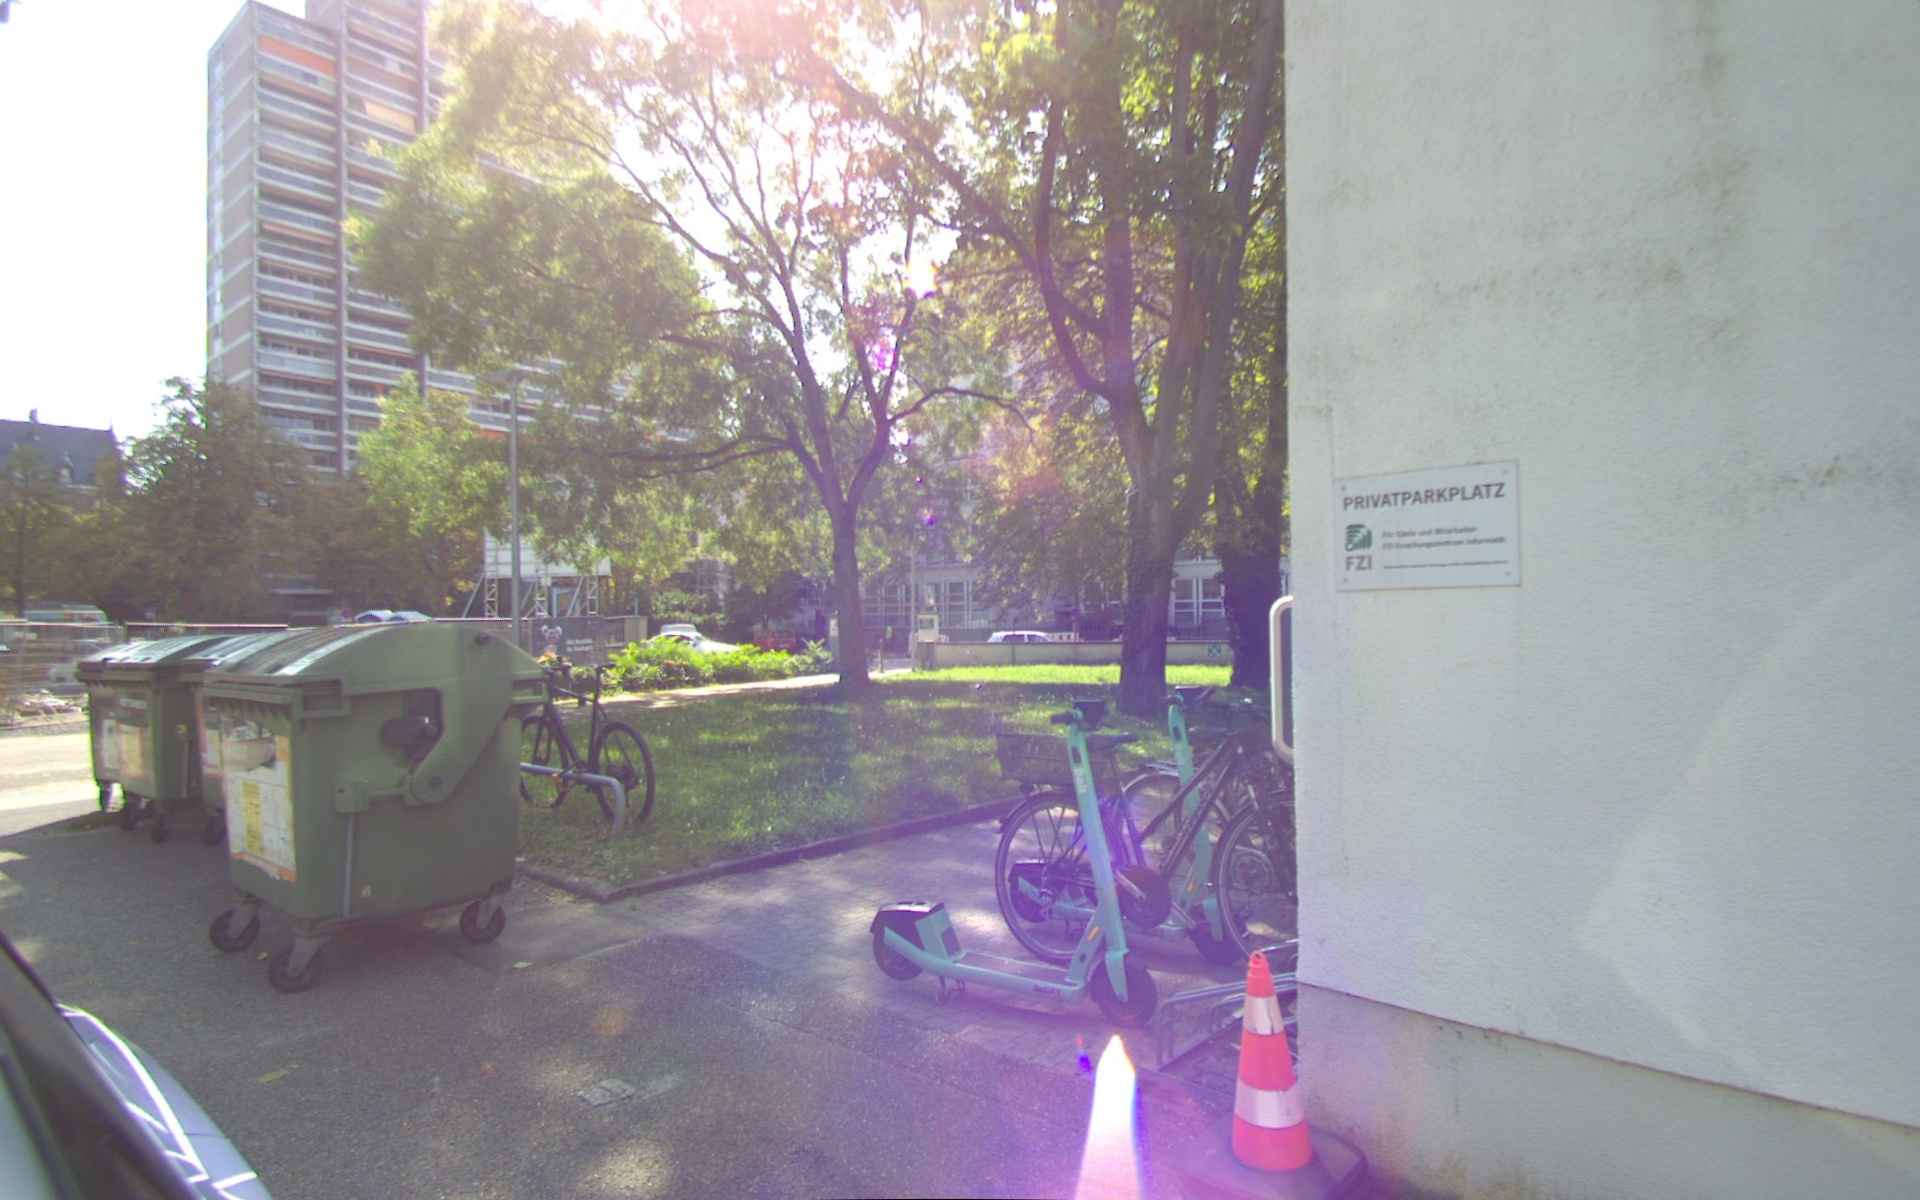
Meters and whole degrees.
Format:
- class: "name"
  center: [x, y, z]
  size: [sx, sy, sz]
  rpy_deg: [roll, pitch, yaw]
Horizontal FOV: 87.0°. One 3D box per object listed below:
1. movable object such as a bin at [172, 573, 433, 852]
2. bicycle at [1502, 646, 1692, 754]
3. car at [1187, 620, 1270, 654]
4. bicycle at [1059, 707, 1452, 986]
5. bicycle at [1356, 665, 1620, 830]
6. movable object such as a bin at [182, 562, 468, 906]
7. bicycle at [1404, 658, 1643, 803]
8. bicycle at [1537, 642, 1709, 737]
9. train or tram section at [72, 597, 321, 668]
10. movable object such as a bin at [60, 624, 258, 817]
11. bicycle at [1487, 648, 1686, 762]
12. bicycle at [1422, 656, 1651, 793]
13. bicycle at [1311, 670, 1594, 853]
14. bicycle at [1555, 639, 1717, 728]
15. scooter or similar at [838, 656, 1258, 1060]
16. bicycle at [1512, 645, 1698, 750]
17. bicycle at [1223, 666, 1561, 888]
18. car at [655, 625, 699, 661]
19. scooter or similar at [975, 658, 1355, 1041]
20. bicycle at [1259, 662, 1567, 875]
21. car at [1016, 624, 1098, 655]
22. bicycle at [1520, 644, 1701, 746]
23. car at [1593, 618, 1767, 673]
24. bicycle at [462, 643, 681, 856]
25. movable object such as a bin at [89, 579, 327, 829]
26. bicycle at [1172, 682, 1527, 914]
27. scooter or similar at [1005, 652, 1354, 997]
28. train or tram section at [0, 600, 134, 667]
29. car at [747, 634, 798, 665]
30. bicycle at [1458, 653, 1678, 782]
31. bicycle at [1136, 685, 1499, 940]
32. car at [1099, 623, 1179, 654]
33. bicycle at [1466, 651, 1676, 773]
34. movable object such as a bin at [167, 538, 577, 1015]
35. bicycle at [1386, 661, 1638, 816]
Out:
- class: "movable object such as a bin"
  center: [-4.632, 0.706, 7.134]
  size: [1.375, 1.718, 1.169]
  rpy_deg: [-1, -1, 38]
- class: "bicycle"
  center: [7.037, 1.075, 11.240]
  size: [1.745, 1.092, 0.321]
  rpy_deg: [-1, -1, 40]
- class: "car"
  center: [12.816, 1.761, 48.562]
  size: [1.833, 1.555, 4.013]
  rpy_deg: [-1, -1, -21]
- class: "bicycle"
  center: [1.305, 1.065, 4.778]
  size: [1.799, 1.004, 0.321]
  rpy_deg: [-1, -1, 40]
- class: "bicycle"
  center: [3.967, 1.066, 7.715]
  size: [1.745, 1.092, 0.321]
  rpy_deg: [-1, -1, 40]
- class: "movable object such as a bin"
  center: [-3.768, 0.681, 5.984]
  size: [1.167, 1.718, 1.396]
  rpy_deg: [0, -1, -44]
- class: "bicycle"
  center: [4.773, 1.069, 8.667]
  size: [1.745, 1.092, 0.321]
  rpy_deg: [-1, -1, 40]
- class: "bicycle"
  center: [8.185, 1.079, 12.559]
  size: [1.745, 1.092, 0.321]
  rpy_deg: [-1, -1, 40]
- class: "train or tram section"
  center: [-41.676, 1.811, 55.180]
  size: [13.859, 3.599, 2.744]
  rpy_deg: [-1, -2, 14]
- class: "movable object such as a bin"
  center: [-6.917, 0.977, 8.758]
  size: [1.103, 1.509, 1.026]
  rpy_deg: [-1, -1, 30]
- class: "bicycle"
  center: [6.582, 1.074, 10.703]
  size: [1.745, 1.092, 0.321]
  rpy_deg: [-1, -1, 40]
- class: "bicycle"
  center: [5.140, 1.070, 9.108]
  size: [1.745, 1.092, 0.321]
  rpy_deg: [-1, -1, 40]
- class: "bicycle"
  center: [3.388, 1.065, 7.092]
  size: [1.745, 1.092, 0.321]
  rpy_deg: [-1, -1, 40]
- class: "bicycle"
  center: [8.920, 1.081, 13.414]
  size: [1.745, 1.092, 0.321]
  rpy_deg: [-1, -1, 40]
- class: "scooter or similar"
  center: [0.300, 0.856, 3.726]
  size: [1.485, 1.272, 0.383]
  rpy_deg: [-1, -1, 22]
- class: "bicycle"
  center: [7.325, 1.076, 11.556]
  size: [1.745, 1.092, 0.321]
  rpy_deg: [-1, -1, 40]
- class: "bicycle"
  center: [2.603, 1.019, 6.300]
  size: [1.915, 1.157, 0.321]
  rpy_deg: [-1, -1, 40]
- class: "car"
  center: [-15.875, 2.366, 56.664]
  size: [1.833, 1.918, 4.013]
  rpy_deg: [0, -2, -24]
- class: "scooter or similar"
  center: [0.741, 0.870, 4.006]
  size: [1.494, 1.240, 0.321]
  rpy_deg: [-1, -1, 40]
- class: "bicycle"
  center: [2.924, 1.040, 6.692]
  size: [1.823, 1.198, 0.321]
  rpy_deg: [-1, -1, 40]
- class: "car"
  center: [4.729, 1.938, 49.905]
  size: [1.768, 1.431, 4.008]
  rpy_deg: [0, -2, -38]
- class: "bicycle"
  center: [7.586, 1.077, 11.871]
  size: [1.745, 1.092, 0.321]
  rpy_deg: [-1, -1, 40]
- class: "car"
  center: [21.365, 1.358, 30.196]
  size: [3.783, 1.555, 1.721]
  rpy_deg: [-1, -2, 15]
- class: "bicycle"
  center: [-2.667, 0.920, 6.813]
  size: [2.007, 1.222, 0.471]
  rpy_deg: [-1, -1, 40]
- class: "movable object such as a bin"
  center: [-5.845, 0.730, 7.870]
  size: [1.375, 1.718, 1.169]
  rpy_deg: [-1, -1, 38]
- class: "bicycle"
  center: [2.166, 1.063, 5.861]
  size: [1.911, 1.083, 0.321]
  rpy_deg: [-1, -1, 40]
- class: "scooter or similar"
  center: [0.890, 0.869, 4.395]
  size: [1.494, 1.249, 0.321]
  rpy_deg: [-1, -1, 40]
- class: "train or tram section"
  center: [-54.707, 2.002, 58.459]
  size: [14.448, 3.599, 2.744]
  rpy_deg: [-1, -2, 14]
- class: "car"
  center: [-10.337, 2.681, 55.597]
  size: [1.833, 1.555, 4.013]
  rpy_deg: [0, -2, -24]
- class: "bicycle"
  center: [5.726, 1.070, 9.611]
  size: [1.745, 1.092, 0.321]
  rpy_deg: [-1, -1, 40]
- class: "bicycle"
  center: [1.819, 1.038, 5.389]
  size: [1.817, 1.088, 0.321]
  rpy_deg: [-1, -1, 40]
- class: "car"
  center: [8.871, 1.895, 50.429]
  size: [1.766, 1.431, 4.012]
  rpy_deg: [0, -2, -28]
- class: "bicycle"
  center: [6.043, 1.072, 10.081]
  size: [1.745, 1.092, 0.321]
  rpy_deg: [-1, -1, 40]
- class: "movable object such as a bin"
  center: [-2.636, 0.649, 4.546]
  size: [1.375, 1.718, 1.169]
  rpy_deg: [-1, -1, 38]
- class: "bicycle"
  center: [4.409, 1.067, 8.183]
  size: [1.745, 1.092, 0.321]
  rpy_deg: [-1, -1, 40]
